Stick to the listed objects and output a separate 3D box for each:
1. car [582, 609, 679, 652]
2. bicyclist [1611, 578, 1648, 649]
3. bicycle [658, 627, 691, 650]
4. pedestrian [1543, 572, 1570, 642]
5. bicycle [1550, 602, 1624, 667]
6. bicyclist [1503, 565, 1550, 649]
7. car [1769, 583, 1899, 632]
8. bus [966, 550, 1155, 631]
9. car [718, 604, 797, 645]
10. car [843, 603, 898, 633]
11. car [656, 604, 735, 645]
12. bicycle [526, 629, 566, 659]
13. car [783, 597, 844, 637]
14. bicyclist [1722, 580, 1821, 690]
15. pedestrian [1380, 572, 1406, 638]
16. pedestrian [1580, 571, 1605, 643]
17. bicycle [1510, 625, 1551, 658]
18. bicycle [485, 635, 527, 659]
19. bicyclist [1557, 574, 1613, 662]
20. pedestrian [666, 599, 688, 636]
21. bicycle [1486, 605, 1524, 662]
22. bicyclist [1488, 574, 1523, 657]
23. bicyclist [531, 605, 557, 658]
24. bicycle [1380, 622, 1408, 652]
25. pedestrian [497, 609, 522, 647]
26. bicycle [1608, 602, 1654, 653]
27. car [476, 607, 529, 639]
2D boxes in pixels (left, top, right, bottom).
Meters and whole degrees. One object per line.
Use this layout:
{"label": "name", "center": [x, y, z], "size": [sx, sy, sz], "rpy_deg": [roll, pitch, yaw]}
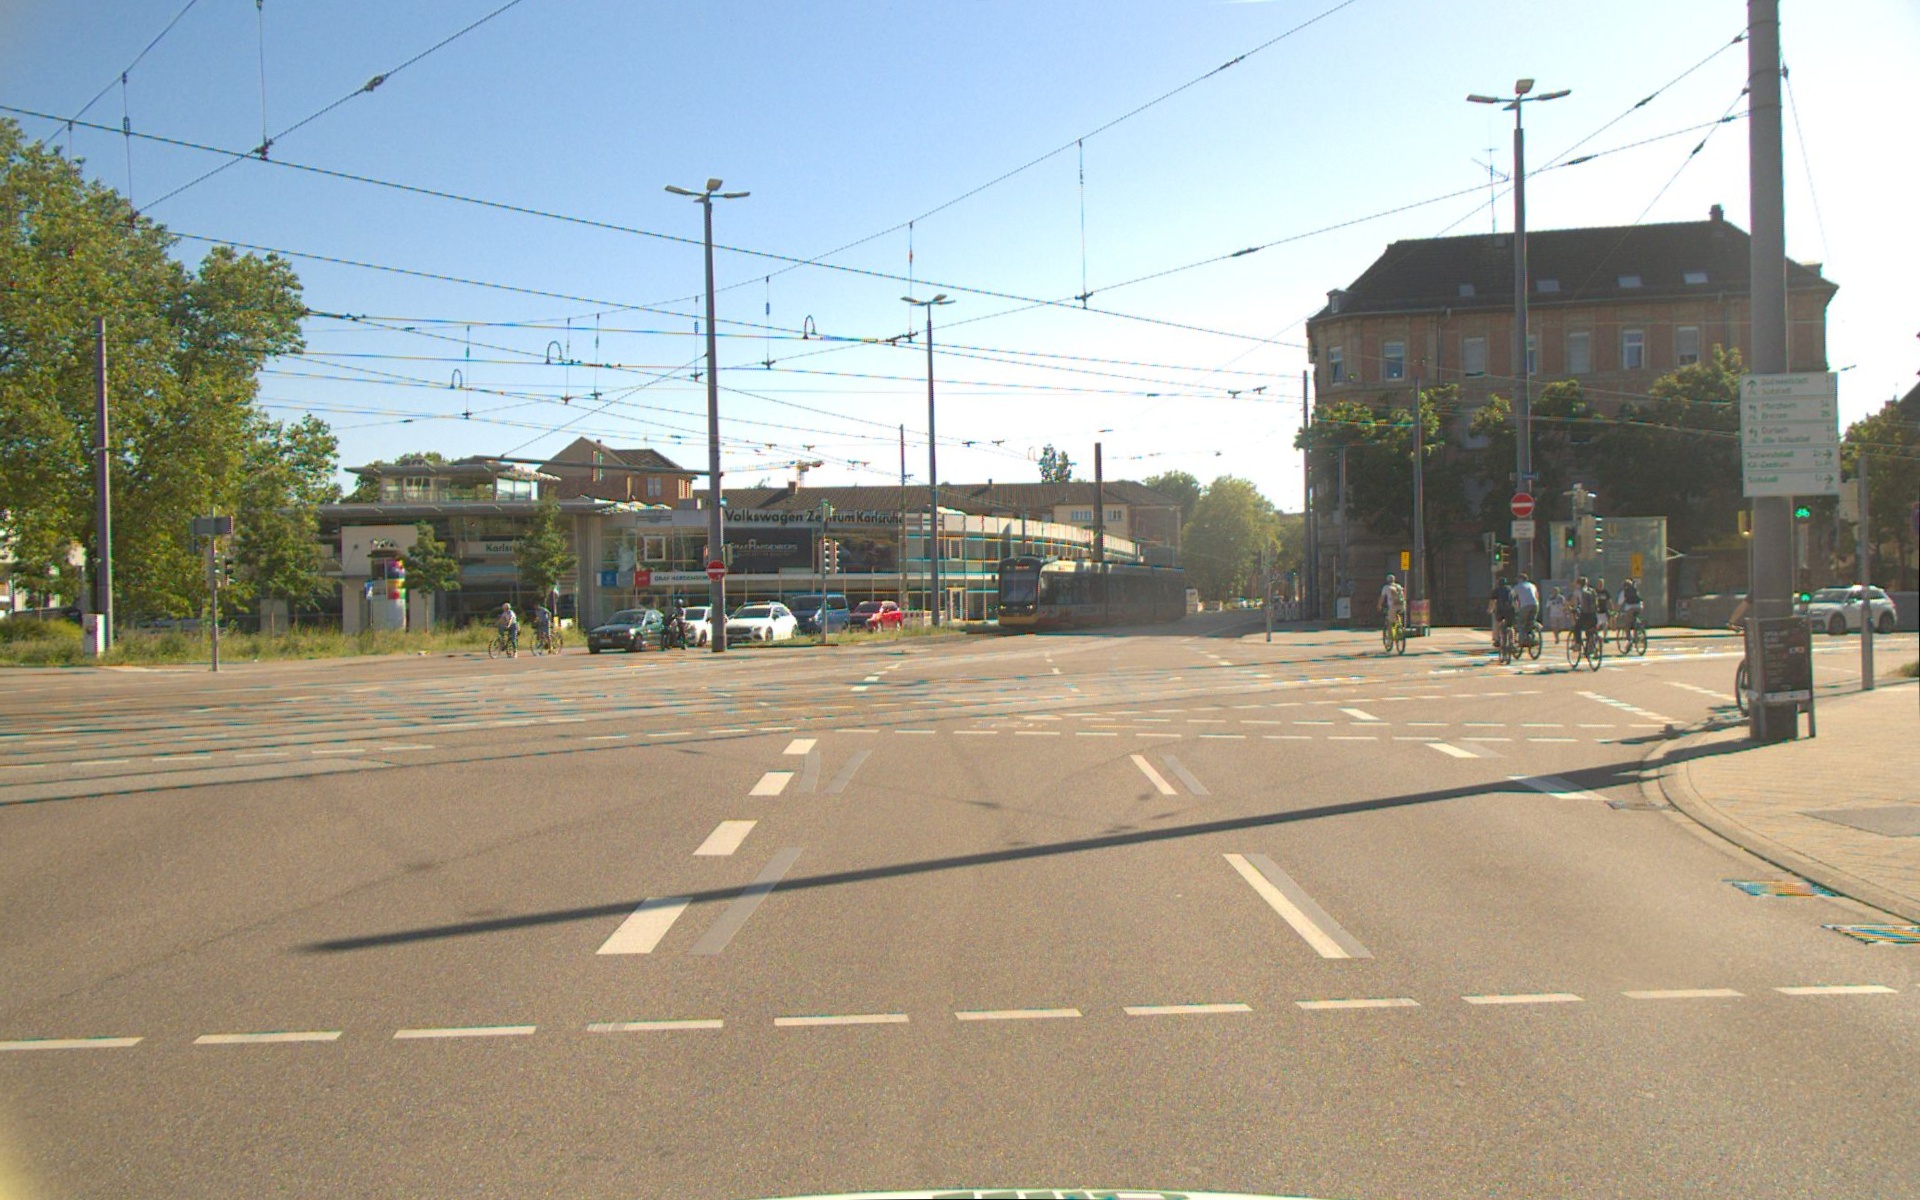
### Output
{"label": "car", "center": [-11.068, 1.006, 55.822], "size": [1.667, 1.378, 3.703], "rpy_deg": [-1, 0, 16]}
{"label": "bicyclist", "center": [15.472, 0.312, 38.226], "size": [0.559, 1.596, 0.947], "rpy_deg": [-1, 0, 8]}
{"label": "bicycle", "center": [-9.533, 1.289, 55.280], "size": [0.413, 0.730, 1.635], "rpy_deg": [-1, 0, 16]}
{"label": "pedestrian", "center": [17.684, 0.216, 49.041], "size": [0.564, 2.049, 0.449], "rpy_deg": [-1, 0, -19]}
{"label": "bicycle", "center": [11.771, 0.630, 31.098], "size": [0.671, 1.184, 1.883], "rpy_deg": [-1, 0, 0]}
{"label": "bicyclist", "center": [12.500, 0.154, 36.513], "size": [0.731, 1.810, 0.925], "rpy_deg": [-2, 0, 6]}
{"label": "car", "center": [29.932, 0.260, 56.604], "size": [4.258, 1.591, 1.785], "rpy_deg": [-1, 0, -26]}
{"label": "bus", "center": [5.959, -0.261, 87.455], "size": [3.756, 3.671, 24.875], "rpy_deg": [1, -1, 18]}
{"label": "car", "center": [-7.301, 0.856, 59.962], "size": [1.591, 1.406, 3.741], "rpy_deg": [-1, 0, 14]}
{"label": "car", "center": [-4.354, 0.859, 81.157], "size": [1.591, 1.388, 3.688], "rpy_deg": [-1, 0, 15]}
{"label": "car", "center": [-9.857, 0.887, 61.799], "size": [1.591, 1.449, 3.688], "rpy_deg": [-1, 0, 14]}
{"label": "bicycle", "center": [-13.816, 1.456, 55.224], "size": [0.458, 0.943, 1.474], "rpy_deg": [-1, 0, 24]}
{"label": "car", "center": [-6.518, 0.732, 73.994], "size": [1.591, 1.722, 3.688], "rpy_deg": [-1, 0, 14]}
{"label": "bicyclist", "center": [10.073, 0.424, 20.554], "size": [0.705, 1.301, 0.907], "rpy_deg": [-3, 0, -1]}
{"label": "pedestrian", "center": [10.593, 0.130, 40.443], "size": [0.537, 1.590, 0.858], "rpy_deg": [-1, -1, 19]}
{"label": "pedestrian", "center": [18.396, 0.202, 48.105], "size": [0.453, 2.049, 0.449], "rpy_deg": [-1, 0, -19]}
{"label": "bicycle", "center": [12.553, 0.904, 36.437], "size": [0.525, 0.667, 1.468], "rpy_deg": [-2, 0, 6]}
{"label": "bicycle", "center": [-14.694, 1.533, 53.566], "size": [0.414, 0.730, 1.473], "rpy_deg": [-1, 0, 29]}
{"label": "bicyclist", "center": [11.757, 0.331, 31.131], "size": [0.671, 1.626, 0.977], "rpy_deg": [-1, 0, 0]}
{"label": "pedestrian", "center": [-9.492, 0.582, 55.465], "size": [0.413, 1.225, 0.750], "rpy_deg": [-1, 0, 16]}
{"label": "bicycle", "center": [11.249, 0.700, 34.171], "size": [0.612, 1.133, 1.852], "rpy_deg": [1, -2, 15]}
{"label": "bicyclist", "center": [11.241, 0.322, 34.125], "size": [0.612, 1.666, 0.995], "rpy_deg": [1, -2, 15]}
{"label": "bicyclist", "center": [-13.870, 1.056, 55.139], "size": [0.557, 1.744, 0.648], "rpy_deg": [-1, 0, 24]}
{"label": "bicycle", "center": [10.625, 0.892, 40.435], "size": [0.526, 0.667, 1.726], "rpy_deg": [-1, 0, 19]}
{"label": "pedestrian", "center": [-14.625, 0.900, 53.719], "size": [0.414, 1.225, 0.679], "rpy_deg": [-1, 0, 29]}
{"label": "bicycle", "center": [15.482, 0.619, 38.191], "size": [0.559, 1.145, 1.741], "rpy_deg": [-1, 0, 8]}
{"label": "car", "center": [-26.111, 1.275, 94.561], "size": [1.926, 1.736, 4.082], "rpy_deg": [-1, 0, -1]}
